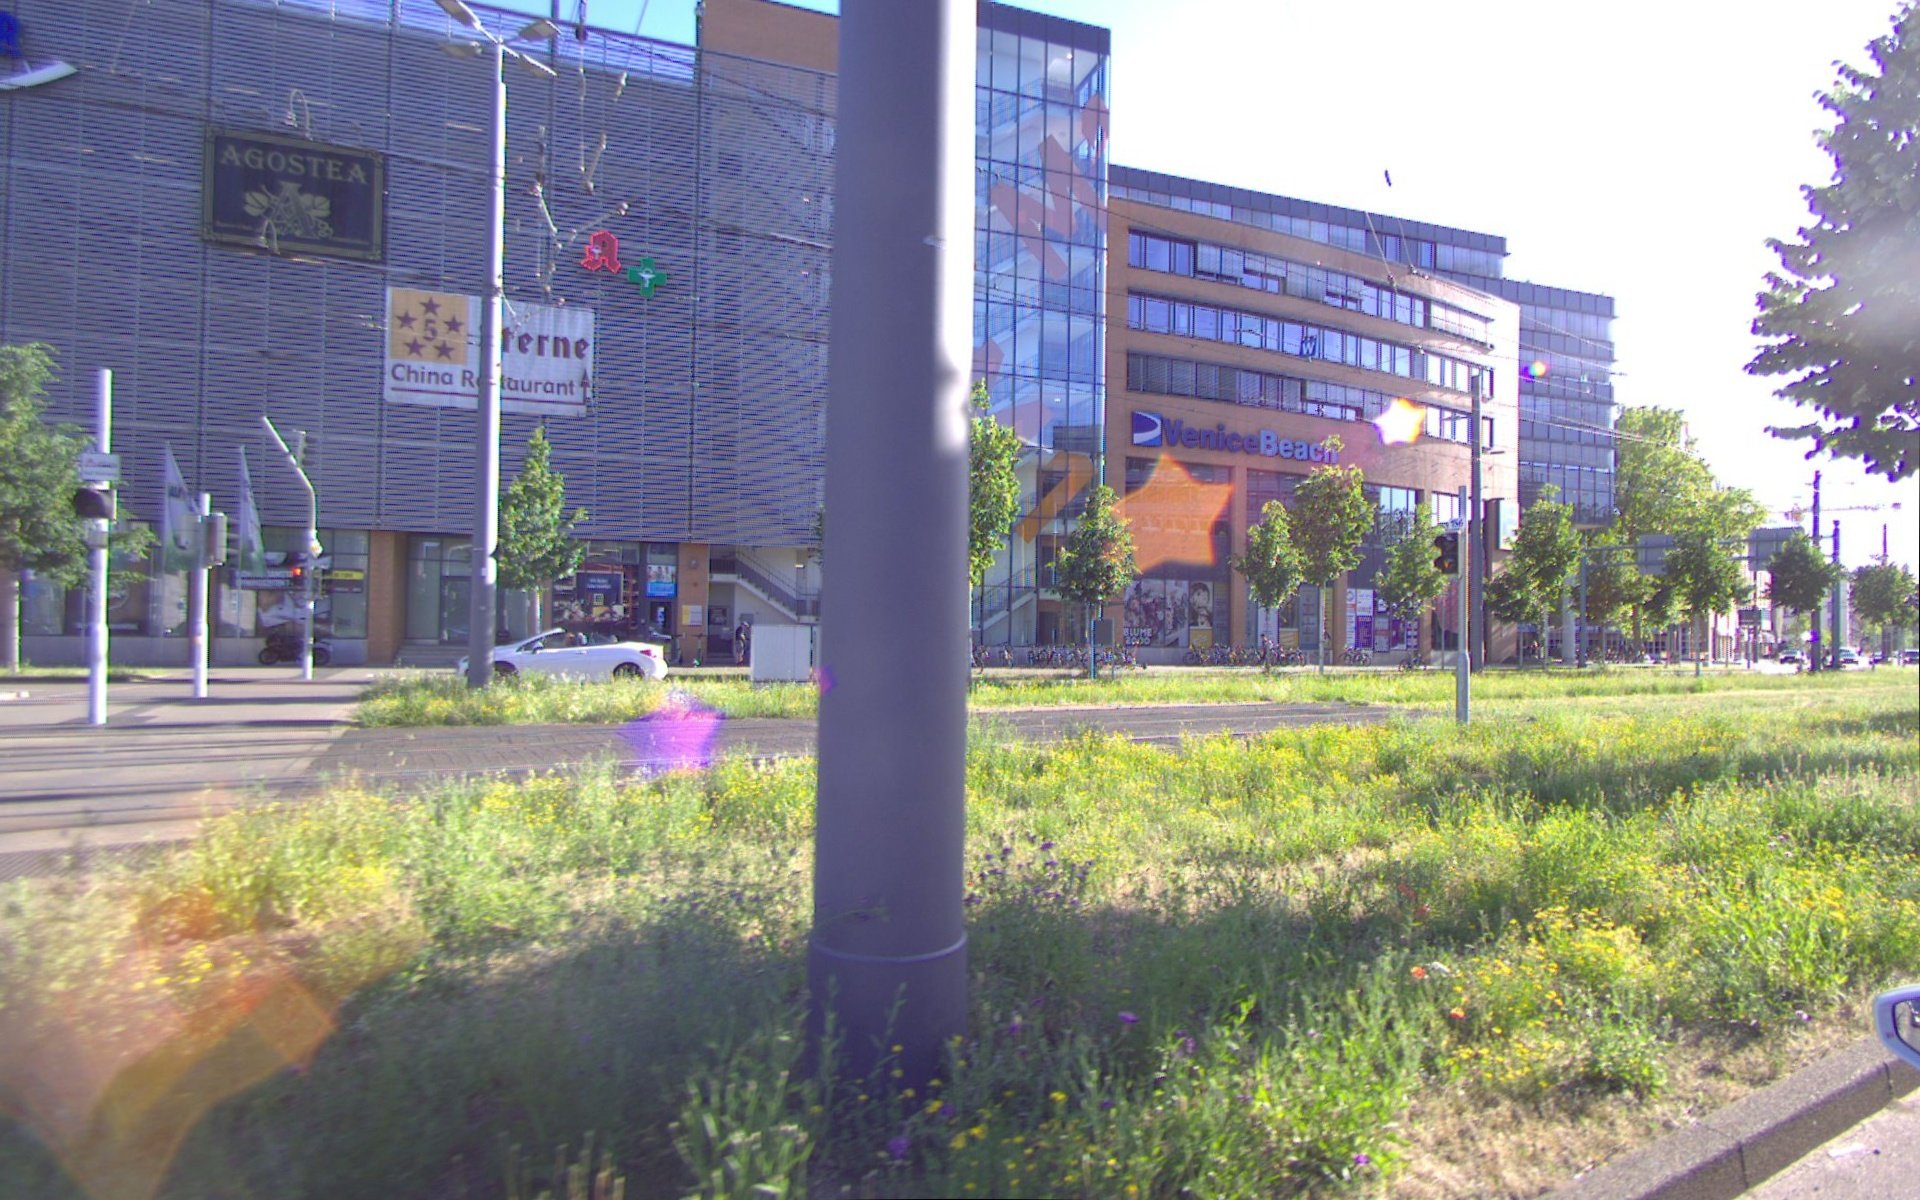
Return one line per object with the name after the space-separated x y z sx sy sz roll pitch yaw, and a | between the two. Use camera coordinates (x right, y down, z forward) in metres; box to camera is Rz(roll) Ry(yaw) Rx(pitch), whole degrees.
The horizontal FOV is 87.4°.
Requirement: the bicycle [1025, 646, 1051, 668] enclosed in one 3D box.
3.455 2.506 44.362 0.483 0.938 1.764 2 -2 -19 | bicycle

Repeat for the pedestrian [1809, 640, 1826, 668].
63.602 4.003 74.524 0.828 2.040 0.729 2 -1 -31 | pedestrian

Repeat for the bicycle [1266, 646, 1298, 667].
16.953 2.969 52.959 0.484 1.063 1.759 2 -2 -27 | bicycle

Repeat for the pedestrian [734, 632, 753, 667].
-8.316 1.887 38.509 0.621 1.306 0.447 2 -2 -23 | pedestrian

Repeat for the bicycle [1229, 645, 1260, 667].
14.610 2.869 51.645 0.484 1.063 1.759 2 -2 -27 | bicycle

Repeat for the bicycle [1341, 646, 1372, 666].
22.110 3.123 56.013 0.484 1.063 1.759 2 -2 -27 | bicycle

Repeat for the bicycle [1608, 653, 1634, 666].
53.430 4.797 81.186 1.739 0.964 0.540 0 -2 29 | bicycle

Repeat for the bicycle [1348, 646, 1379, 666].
22.629 3.146 56.362 0.484 1.063 1.759 2 -2 -27 | bicycle

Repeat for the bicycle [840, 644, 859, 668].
-4.457 2.246 40.539 0.455 0.938 1.395 2 -2 -19 | bicycle

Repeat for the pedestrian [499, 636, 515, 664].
-16.929 1.870 37.524 0.417 1.052 0.565 1 -1 -13 | pedestrian

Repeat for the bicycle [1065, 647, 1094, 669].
5.359 2.578 45.083 0.556 0.938 1.764 2 -2 -19 | bicycle

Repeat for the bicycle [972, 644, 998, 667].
1.068 2.394 43.232 0.556 0.938 1.764 2 -2 -19 | bicycle

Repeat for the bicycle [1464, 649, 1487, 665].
30.101 3.331 58.619 1.872 0.922 0.494 2 -2 -38 | bicycle

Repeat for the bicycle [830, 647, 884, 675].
-3.461 2.049 33.713 1.746 0.935 0.384 2 -2 -23 | bicycle

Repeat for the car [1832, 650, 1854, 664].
107.123 6.940 121.843 1.971 1.617 4.714 -2 -3 41 | car

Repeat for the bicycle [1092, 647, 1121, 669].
6.614 2.628 45.568 0.556 0.938 1.764 2 -2 -19 | bicycle

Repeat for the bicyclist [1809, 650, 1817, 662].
100.555 6.642 118.414 0.749 1.393 0.945 0 -2 43 | bicyclist

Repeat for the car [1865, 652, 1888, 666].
108.687 6.960 119.137 1.723 1.524 3.866 0 -2 37 | car

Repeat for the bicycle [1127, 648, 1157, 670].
8.372 2.698 46.287 0.556 0.938 1.764 2 -2 -19 | bicycle

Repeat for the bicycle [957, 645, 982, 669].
0.399 2.428 42.973 0.483 0.938 1.764 2 -2 -19 | bicycle

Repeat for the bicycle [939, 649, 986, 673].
0.108 2.278 37.716 1.746 0.880 0.384 2 -2 -23 | bicycle

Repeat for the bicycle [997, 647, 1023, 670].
2.166 2.536 43.778 0.483 0.938 1.764 2 -2 -19 | bicycle

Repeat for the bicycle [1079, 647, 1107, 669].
5.998 2.603 45.334 0.556 0.938 1.764 2 -2 -19 | bicycle

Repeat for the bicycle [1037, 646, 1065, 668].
4.020 2.525 44.603 0.556 0.938 1.764 2 -2 -19 | bicycle

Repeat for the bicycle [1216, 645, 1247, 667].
13.817 2.834 51.120 0.484 1.063 1.759 2 -2 -27 | bicycle

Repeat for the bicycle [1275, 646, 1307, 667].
17.558 2.994 53.285 0.484 1.063 1.759 2 -2 -27 | bicycle

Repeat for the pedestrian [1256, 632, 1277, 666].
15.422 2.470 50.553 0.667 1.690 0.741 2 -2 -29 | pedestrian

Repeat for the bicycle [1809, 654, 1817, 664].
100.729 6.963 118.625 0.643 1.099 2.910 0 -2 43 | bicycle

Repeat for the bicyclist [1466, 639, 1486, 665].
30.142 3.007 58.656 1.007 1.484 0.672 2 -1 -38 | bicyclist

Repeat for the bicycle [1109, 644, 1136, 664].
8.009 2.682 49.656 0.556 0.938 1.764 2 -2 -19 | bicycle

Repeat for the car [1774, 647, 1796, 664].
101.651 6.807 123.793 1.971 2.040 3.980 -1 -2 41 | car

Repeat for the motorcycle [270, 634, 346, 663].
-21.245 1.581 32.773 1.994 0.932 0.426 2 -2 -20 | motorcycle

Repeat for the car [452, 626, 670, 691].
-8.882 1.320 22.567 4.343 1.345 1.802 2 -3 -23 | car

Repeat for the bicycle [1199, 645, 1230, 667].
12.807 2.792 50.567 0.484 1.063 1.759 2 -2 -27 | bicycle

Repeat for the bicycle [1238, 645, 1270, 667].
15.217 2.895 51.981 0.484 1.063 1.759 2 -2 -27 | bicycle

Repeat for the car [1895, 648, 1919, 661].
109.669 6.291 116.293 1.723 1.524 3.866 0 -2 37 | car

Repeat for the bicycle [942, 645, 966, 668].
-0.266 2.398 42.706 0.483 0.938 1.764 2 -2 -19 | bicycle

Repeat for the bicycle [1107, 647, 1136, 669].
7.379 2.658 45.879 0.556 0.938 1.764 2 -2 -19 | bicycle

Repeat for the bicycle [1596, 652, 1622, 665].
52.096 4.687 80.640 1.745 0.964 0.539 0 -2 40 | bicycle

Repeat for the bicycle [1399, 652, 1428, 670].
21.780 2.929 48.277 1.754 0.880 0.460 2 -2 -36 | bicycle

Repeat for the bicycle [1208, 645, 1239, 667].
13.335 2.814 50.833 0.484 1.063 1.759 2 -2 -27 | bicycle

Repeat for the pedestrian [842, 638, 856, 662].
-4.858 2.190 43.997 0.443 1.068 0.626 2 -2 -23 | pedestrian

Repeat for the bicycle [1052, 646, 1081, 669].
4.744 2.553 44.864 0.556 0.938 1.764 2 -2 -19 | bicycle

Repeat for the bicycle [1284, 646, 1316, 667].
18.168 3.021 53.686 0.484 1.063 1.759 2 -2 -27 | bicycle
